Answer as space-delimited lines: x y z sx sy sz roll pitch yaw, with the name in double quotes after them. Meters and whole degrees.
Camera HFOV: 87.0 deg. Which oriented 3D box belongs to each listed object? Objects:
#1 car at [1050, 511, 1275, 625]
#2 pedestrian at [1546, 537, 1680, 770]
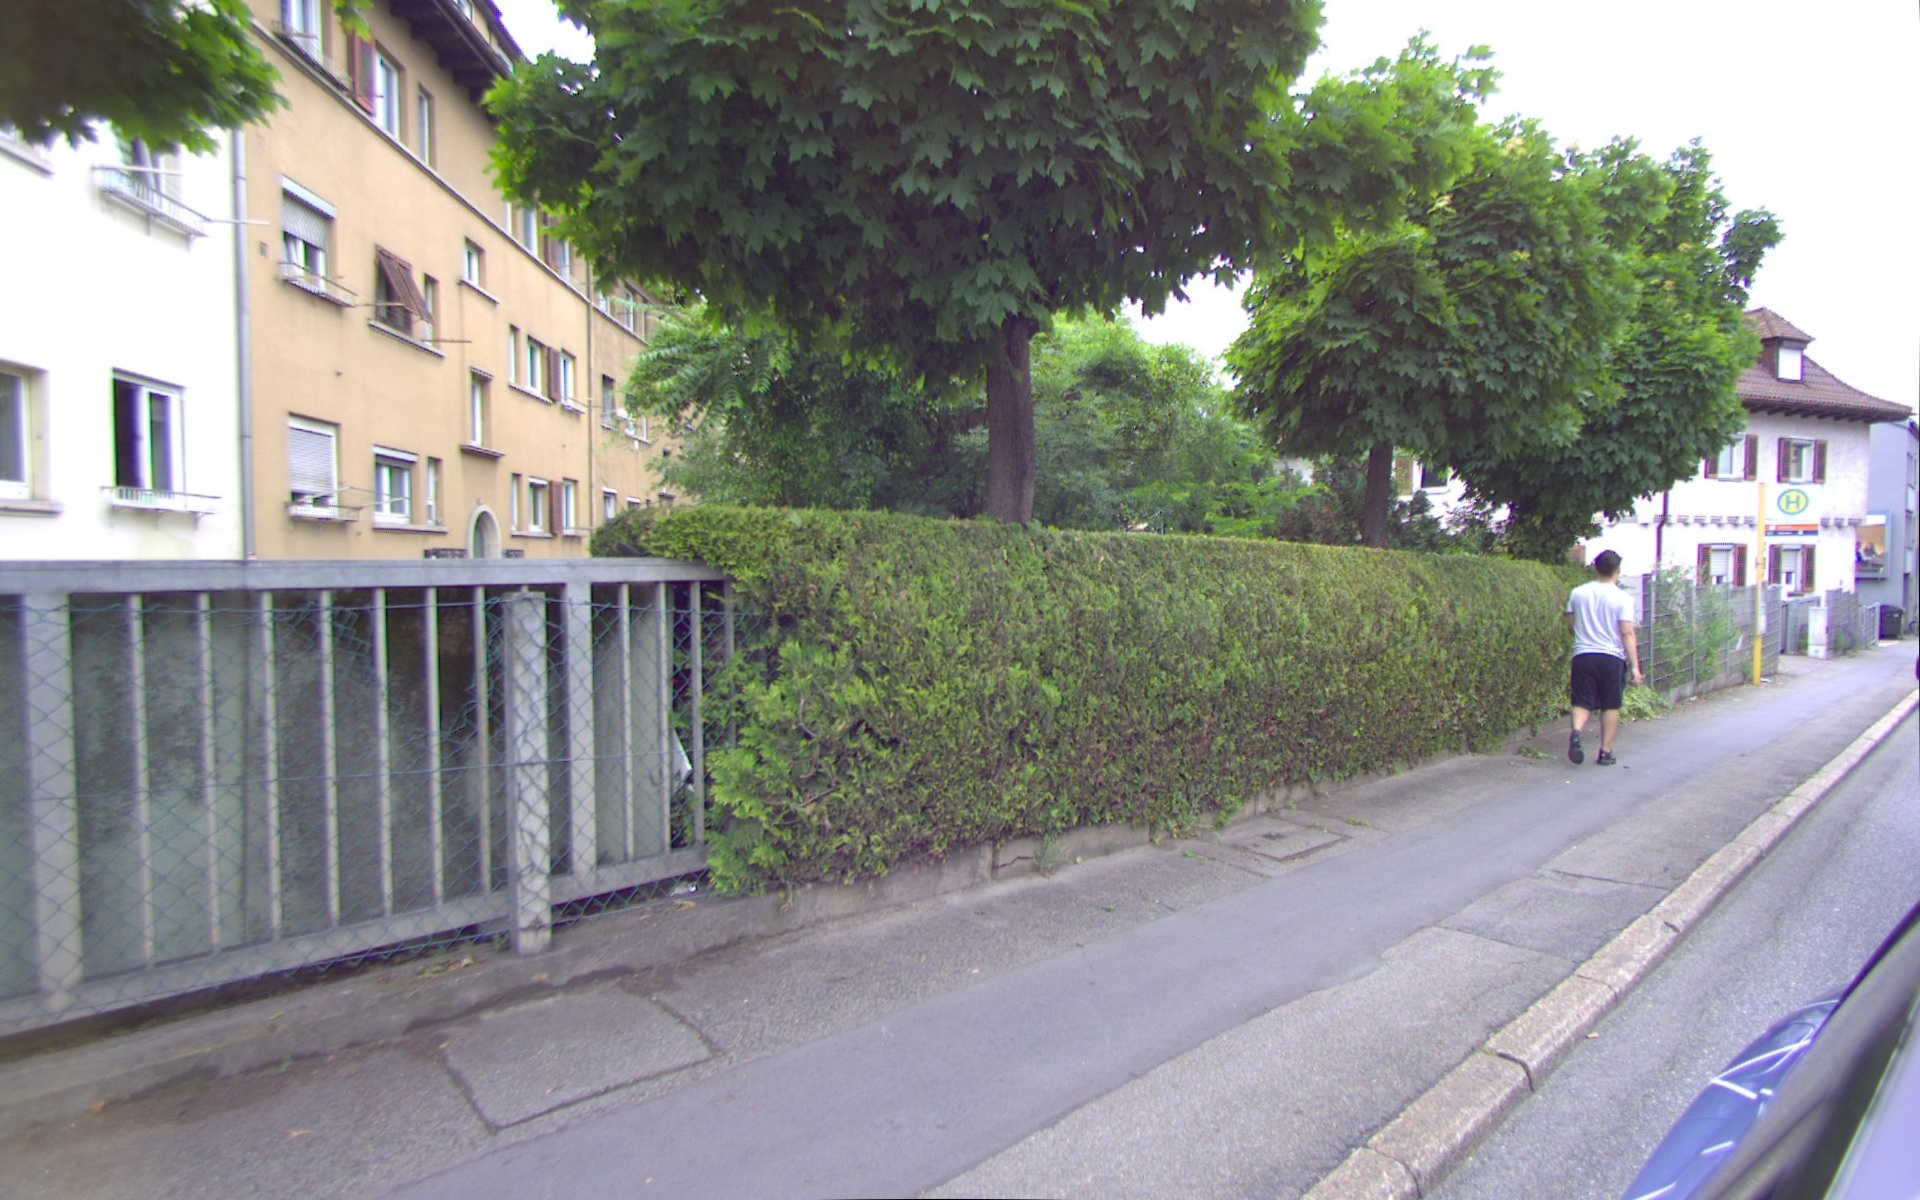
3.854 -0.614 19.836 3.923 2.039 2.001 1 1 -1 "car"
5.230 0.393 8.119 0.459 1.758 0.695 0 4 -42 "pedestrian"
